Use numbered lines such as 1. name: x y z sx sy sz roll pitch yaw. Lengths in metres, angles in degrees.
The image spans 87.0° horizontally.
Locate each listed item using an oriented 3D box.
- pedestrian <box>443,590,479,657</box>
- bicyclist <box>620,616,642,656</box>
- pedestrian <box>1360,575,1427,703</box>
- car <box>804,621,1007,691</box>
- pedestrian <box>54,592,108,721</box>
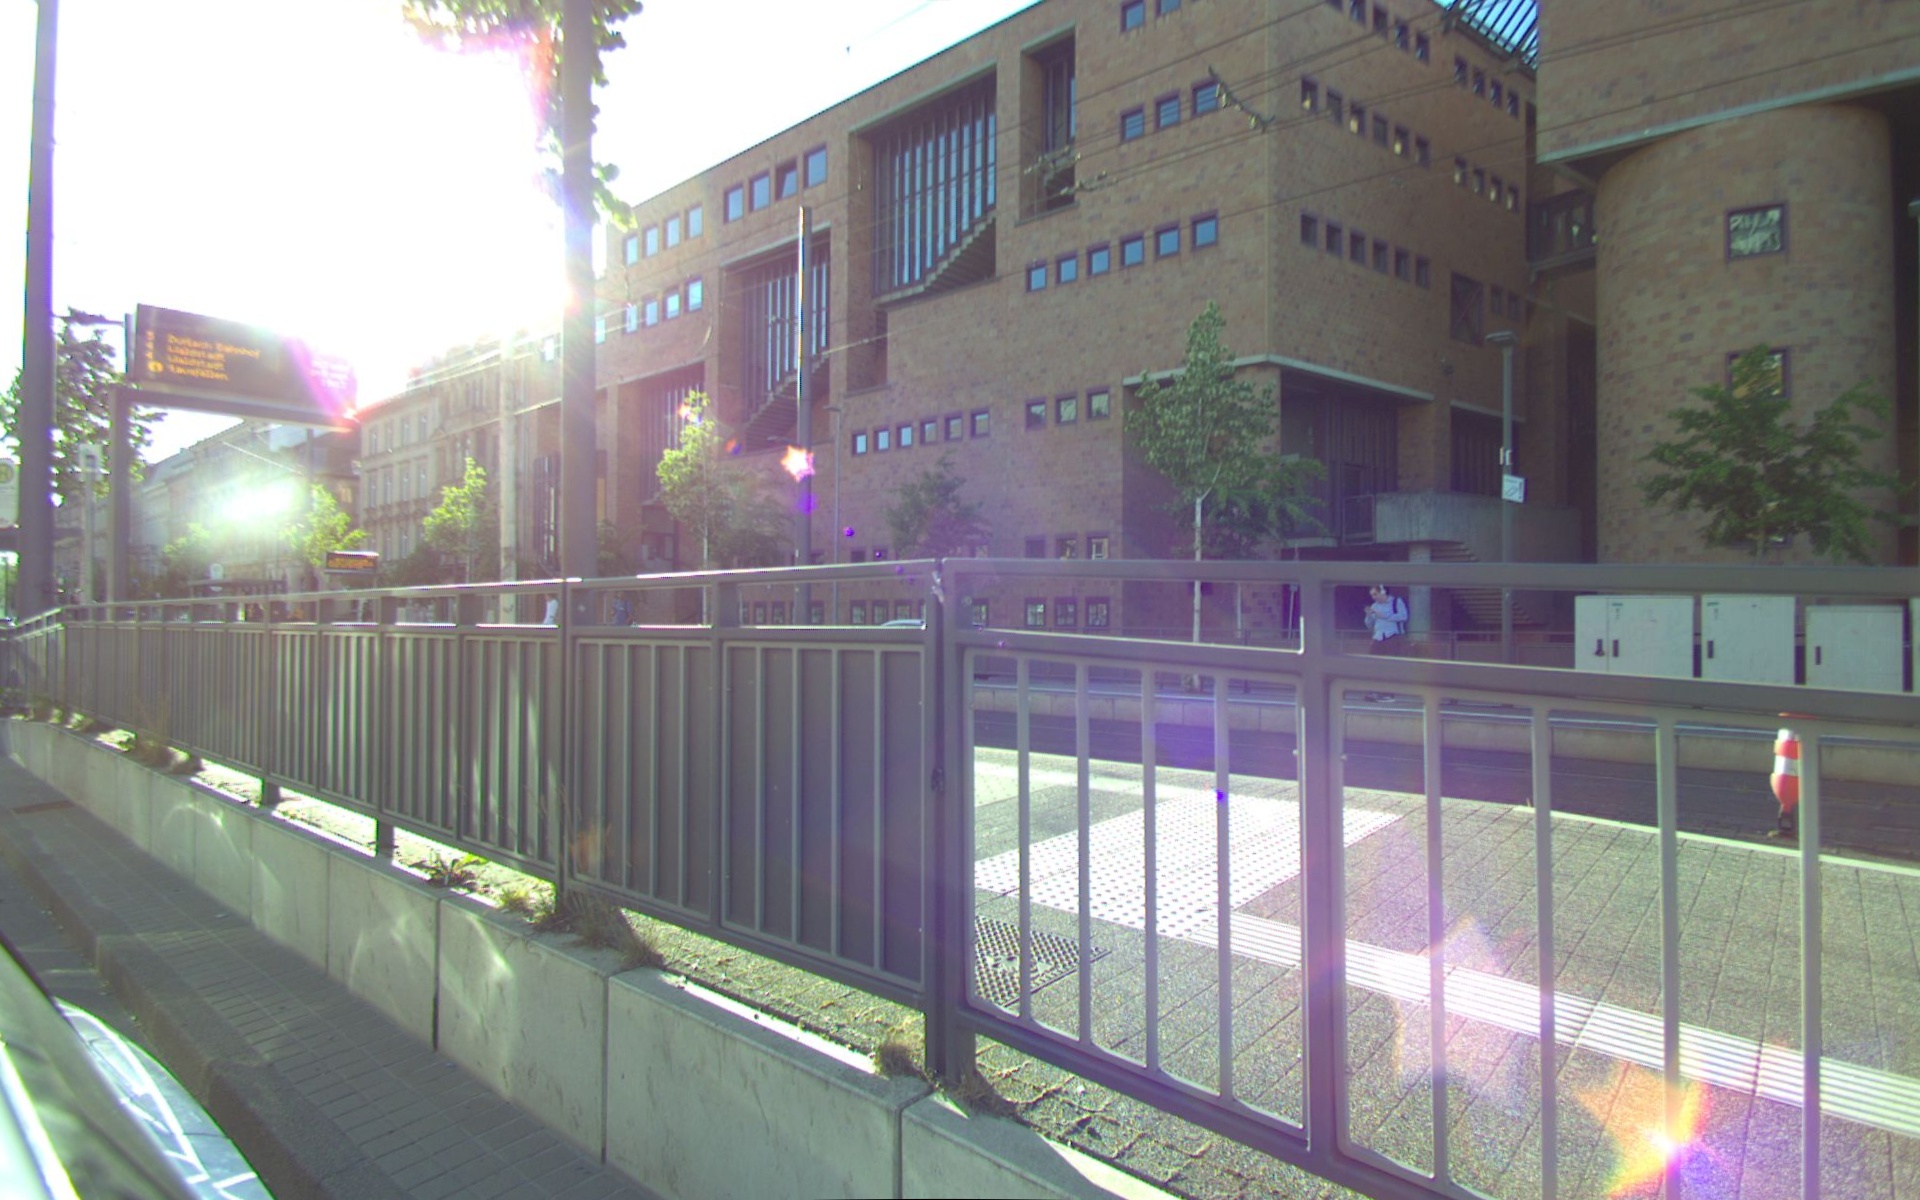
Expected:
1. pedestrian: -13.799 0.633 27.967 0.668 1.821 0.677 0 0 40
2. bicyclist: -12.977 1.414 39.883 0.650 1.545 0.580 0 0 41
3. pedestrian: 5.760 0.498 13.444 0.684 1.647 0.660 0 0 37
4. car: -1.309 1.215 22.964 4.522 1.441 1.808 -1 -2 37
5. pedestrian: -17.190 1.069 19.790 0.625 2.461 0.676 0 0 38
